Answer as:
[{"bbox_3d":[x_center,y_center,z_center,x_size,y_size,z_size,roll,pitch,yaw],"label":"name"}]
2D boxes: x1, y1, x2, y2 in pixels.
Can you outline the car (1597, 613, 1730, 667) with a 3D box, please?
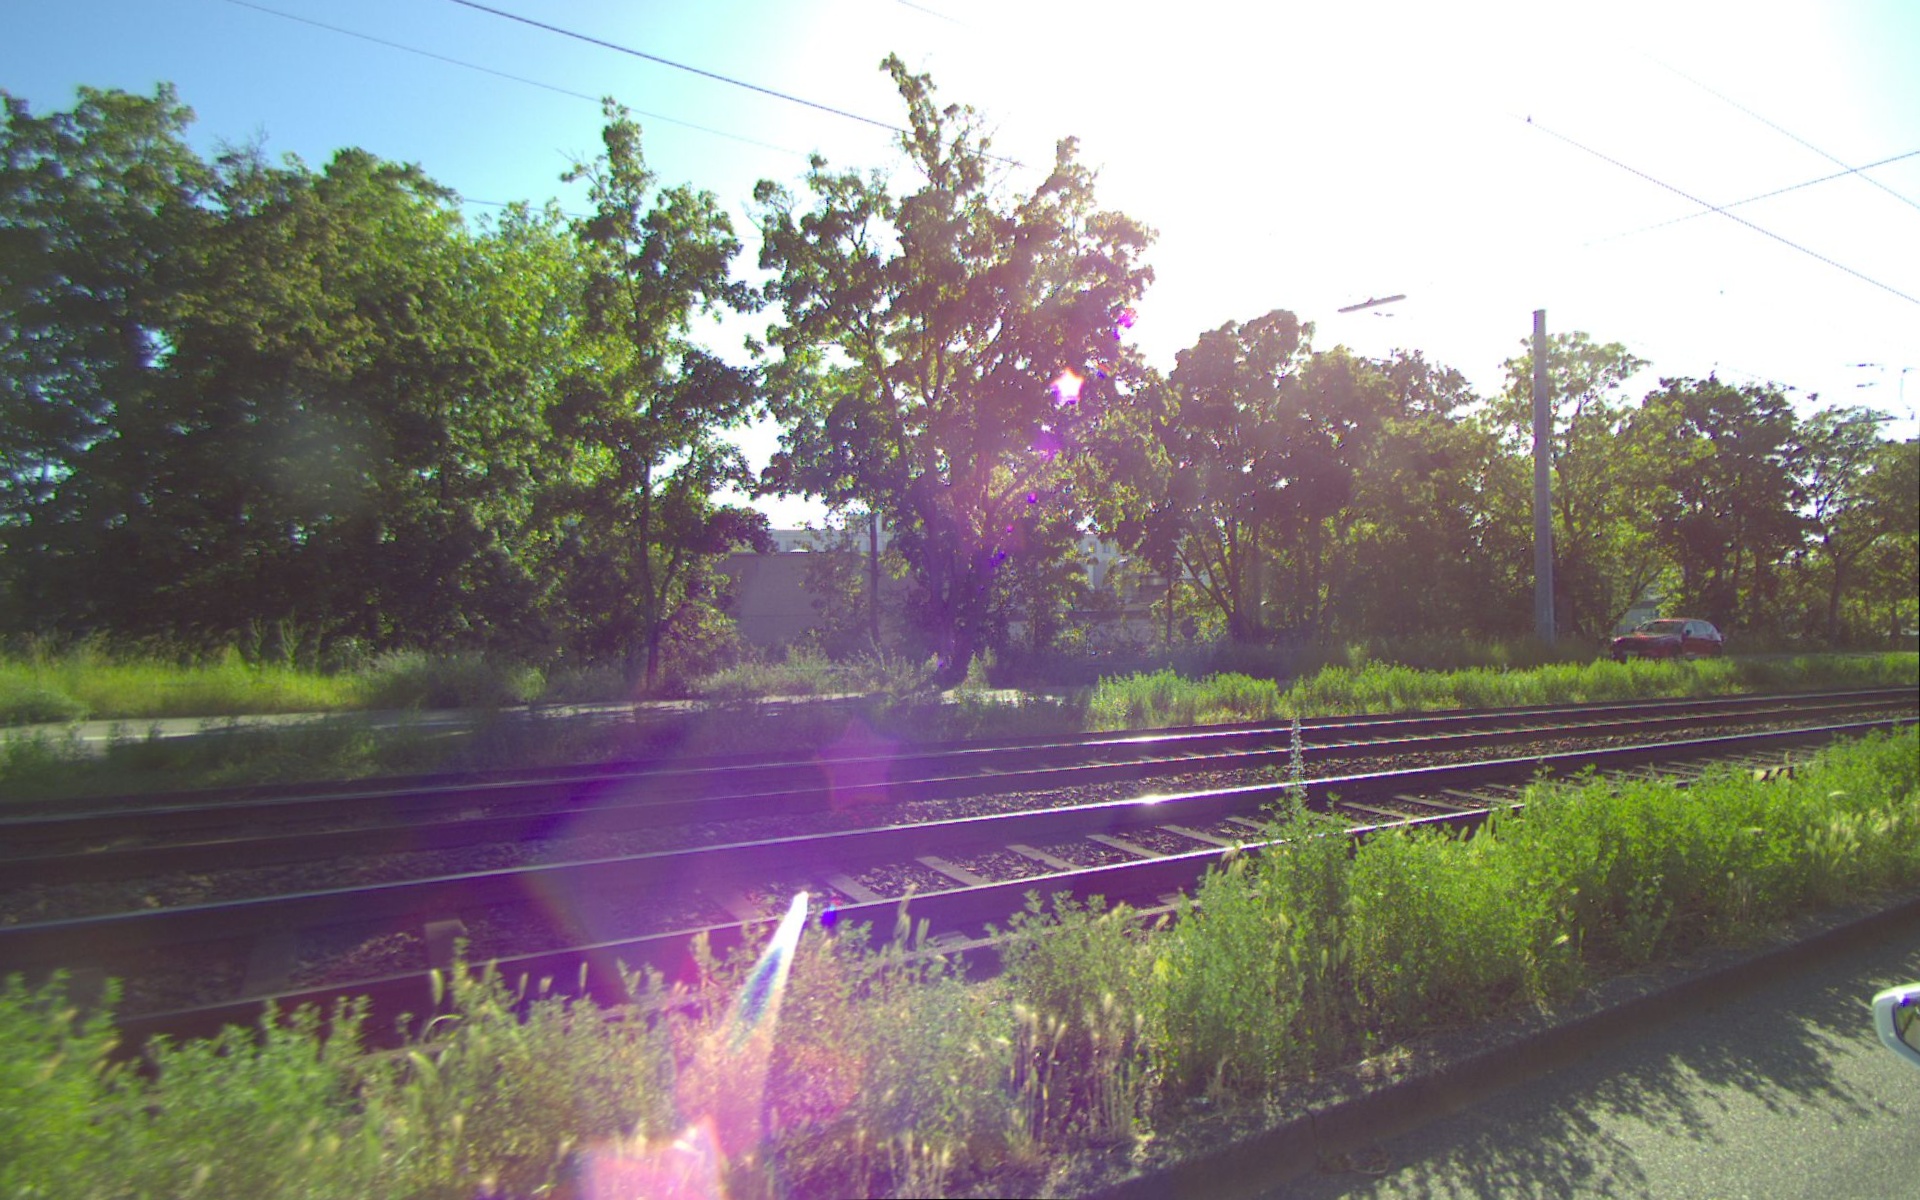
[{"bbox_3d":[24.173,1.352,34.501,4.410,1.725,1.996,1,-1,-28],"label":"car"}]
